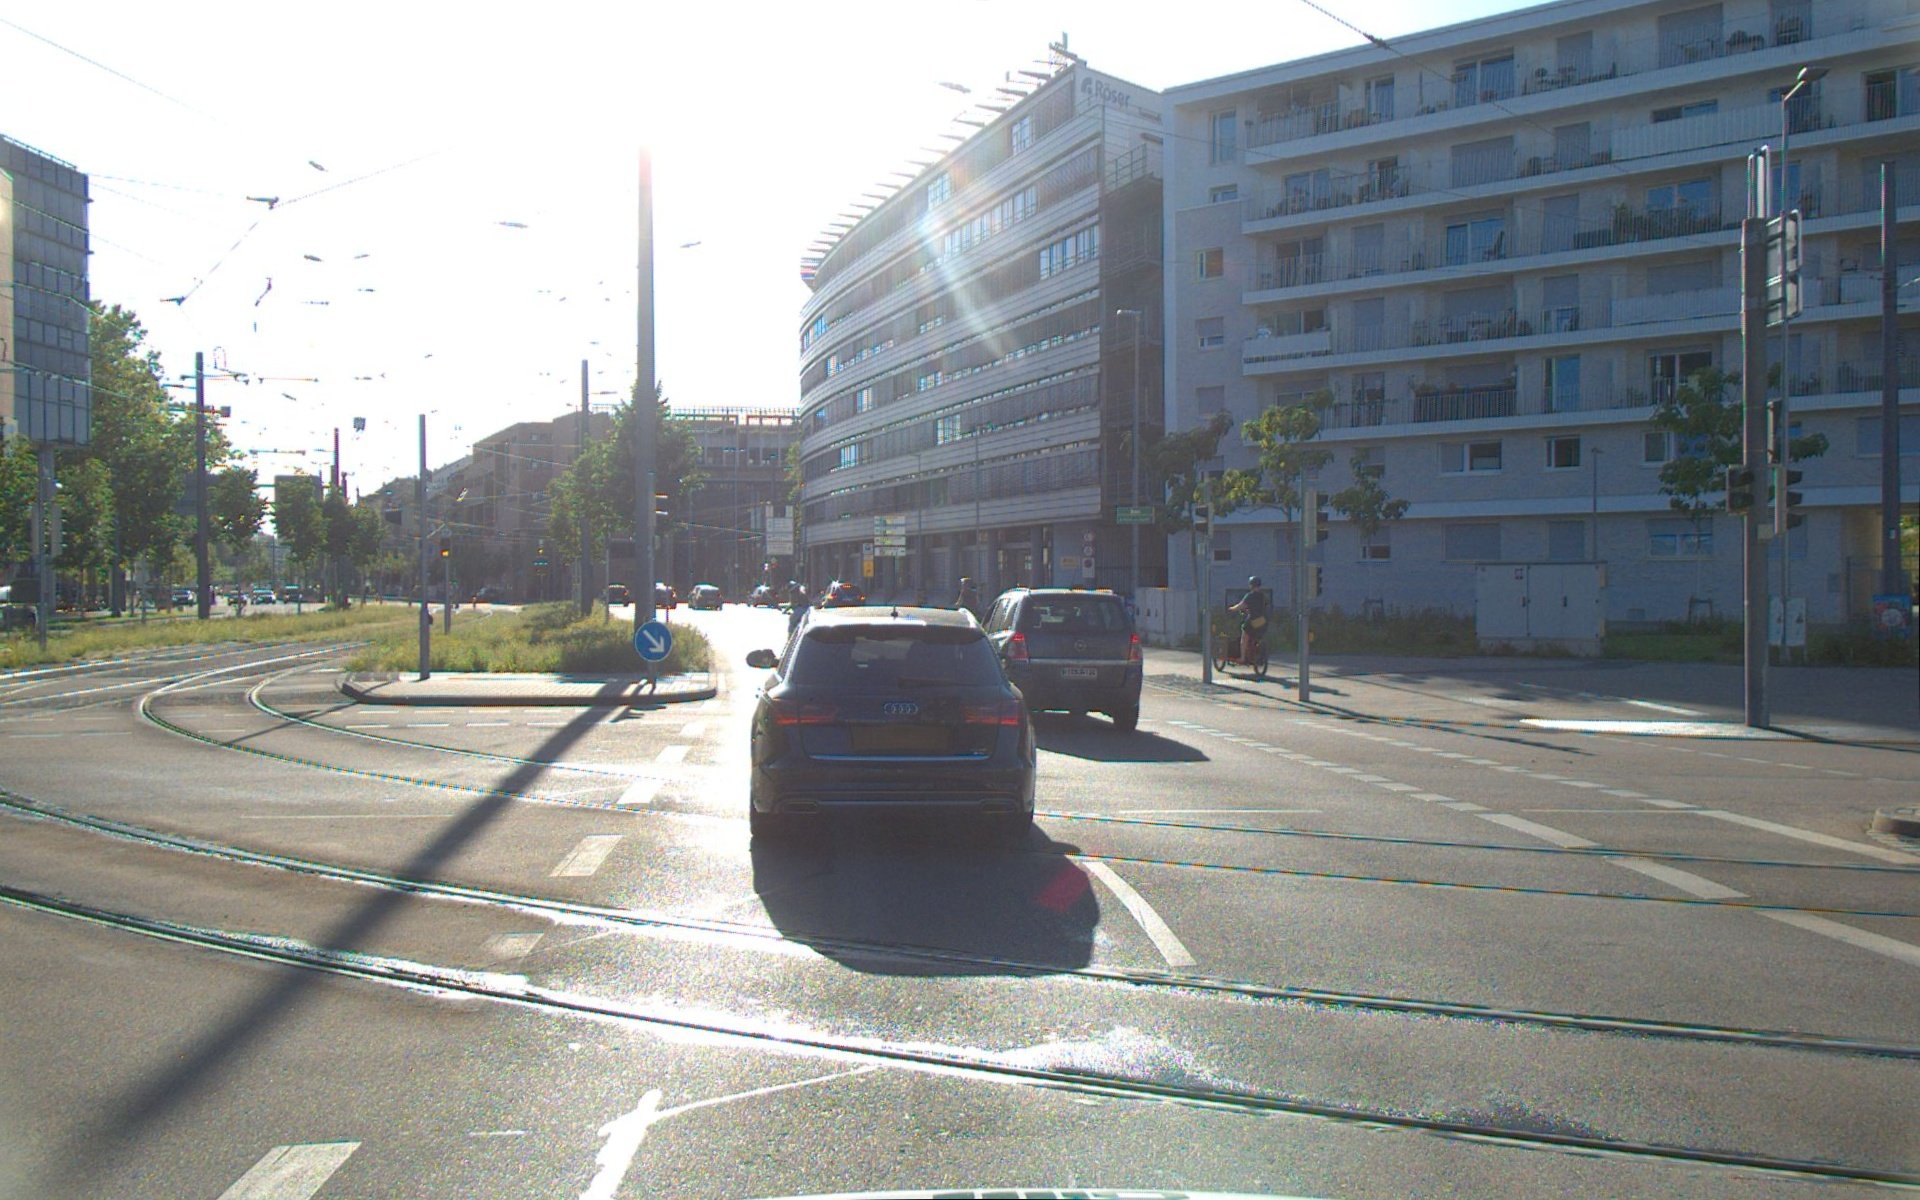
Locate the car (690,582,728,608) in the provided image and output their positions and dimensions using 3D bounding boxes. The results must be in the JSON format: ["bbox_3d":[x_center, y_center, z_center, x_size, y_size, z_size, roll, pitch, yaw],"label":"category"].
[{"bbox_3d":[-16.447,-0.332,108.235,1.961,1.624,3.982,-1,0,-16],"label":"car"}]

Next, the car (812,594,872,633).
[{"bbox_3d":[-5.716,0.627,79.598,1.971,1.745,4.352,1,1,-17],"label":"car"}]

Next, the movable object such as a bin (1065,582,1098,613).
[{"bbox_3d":[5.473,-0.118,74.638,1.046,1.355,1.116,-1,-1,-26],"label":"movable object such as a bin"}]

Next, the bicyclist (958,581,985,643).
[{"bbox_3d":[0.321,0.311,45.305,0.640,1.671,0.972,0,1,5],"label":"bicyclist"}]

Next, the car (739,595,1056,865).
[{"bbox_3d":[-0.331,0.745,11.570,1.804,1.479,4.001,1,1,1],"label":"car"}]

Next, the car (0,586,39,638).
[{"bbox_3d":[-32.203,0.388,54.271,1.956,1.668,4.405,0,0,-7],"label":"car"}]

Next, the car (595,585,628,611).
[{"bbox_3d":[-24.464,-0.150,116.064,1.961,1.736,3.983,-1,0,-16],"label":"car"}]

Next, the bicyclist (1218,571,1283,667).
[{"bbox_3d":[5.401,0.347,30.764,0.761,1.736,0.917,0,0,-39],"label":"bicyclist"}]

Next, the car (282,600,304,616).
[{"bbox_3d":[-73.302,0.901,181.738,1.970,1.713,3.966,-1,0,-26],"label":"car"}]

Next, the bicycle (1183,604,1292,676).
[{"bbox_3d":[5.184,0.727,31.031,0.761,1.284,2.053,0,0,-38],"label":"bicycle"}]

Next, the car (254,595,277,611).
[{"bbox_3d":[-74.493,0.296,177.347,1.970,1.713,3.966,-1,0,-26],"label":"car"}]

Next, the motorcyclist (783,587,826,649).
[{"bbox_3d":[-3.403,0.388,36.146,0.847,1.349,0.679,0,0,-13],"label":"motorcyclist"}]

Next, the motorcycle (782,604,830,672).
[{"bbox_3d":[-3.381,0.813,36.168,0.847,1.417,1.888,0,0,-12],"label":"motorcycle"}]

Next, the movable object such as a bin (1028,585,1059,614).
[{"bbox_3d":[3.945,-0.011,77.912,1.046,1.355,1.116,-1,-1,-26],"label":"movable object such as a bin"}]

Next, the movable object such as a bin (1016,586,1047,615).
[{"bbox_3d":[3.405,0.031,79.004,1.046,1.355,1.116,-1,-1,-26],"label":"movable object such as a bin"}]

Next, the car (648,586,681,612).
[{"bbox_3d":[-19.800,-0.057,110.692,1.959,1.624,3.987,-1,0,-13],"label":"car"}]

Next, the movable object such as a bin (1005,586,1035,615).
[{"bbox_3d":[2.885,0.023,80.101,1.046,1.355,1.116,-1,-1,-26],"label":"movable object such as a bin"}]

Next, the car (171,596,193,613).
[{"bbox_3d":[-81.138,0.425,172.394,1.970,1.713,3.966,-1,0,-26],"label":"car"}]

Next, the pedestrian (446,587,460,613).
[{"bbox_3d":[-37.500,0.018,122.393,0.887,1.856,0.826,-1,-1,-15],"label":"pedestrian"}]

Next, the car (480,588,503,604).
[{"bbox_3d":[-52.522,-0.435,185.350,1.967,1.736,3.971,-1,0,-23],"label":"car"}]

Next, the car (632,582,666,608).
[{"bbox_3d":[-21.956,-0.334,116.621,1.961,1.736,3.983,-1,0,-16],"label":"car"}]

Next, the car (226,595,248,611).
[{"bbox_3d":[-77.172,0.303,176.559,1.970,1.713,3.966,-1,0,-26],"label":"car"}]

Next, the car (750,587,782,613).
[{"bbox_3d":[-14.156,0.017,120.531,1.959,1.870,3.987,-1,0,-13],"label":"car"}]

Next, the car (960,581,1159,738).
[{"bbox_3d":[1.131,0.654,20.756,1.713,1.725,4.254,2,0,-7],"label":"car"}]

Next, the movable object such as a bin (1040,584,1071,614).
[{"bbox_3d":[4.434,-0.024,76.855,1.046,1.355,1.116,-1,-1,-26],"label":"movable object such as a bin"}]

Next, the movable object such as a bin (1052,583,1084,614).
[{"bbox_3d":[4.950,-0.066,75.735,1.046,1.355,1.116,-1,-1,-26],"label":"movable object such as a bin"}]

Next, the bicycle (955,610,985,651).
[{"bbox_3d":[0.286,0.831,45.311,0.640,1.061,1.931,0,1,5],"label":"bicycle"}]
